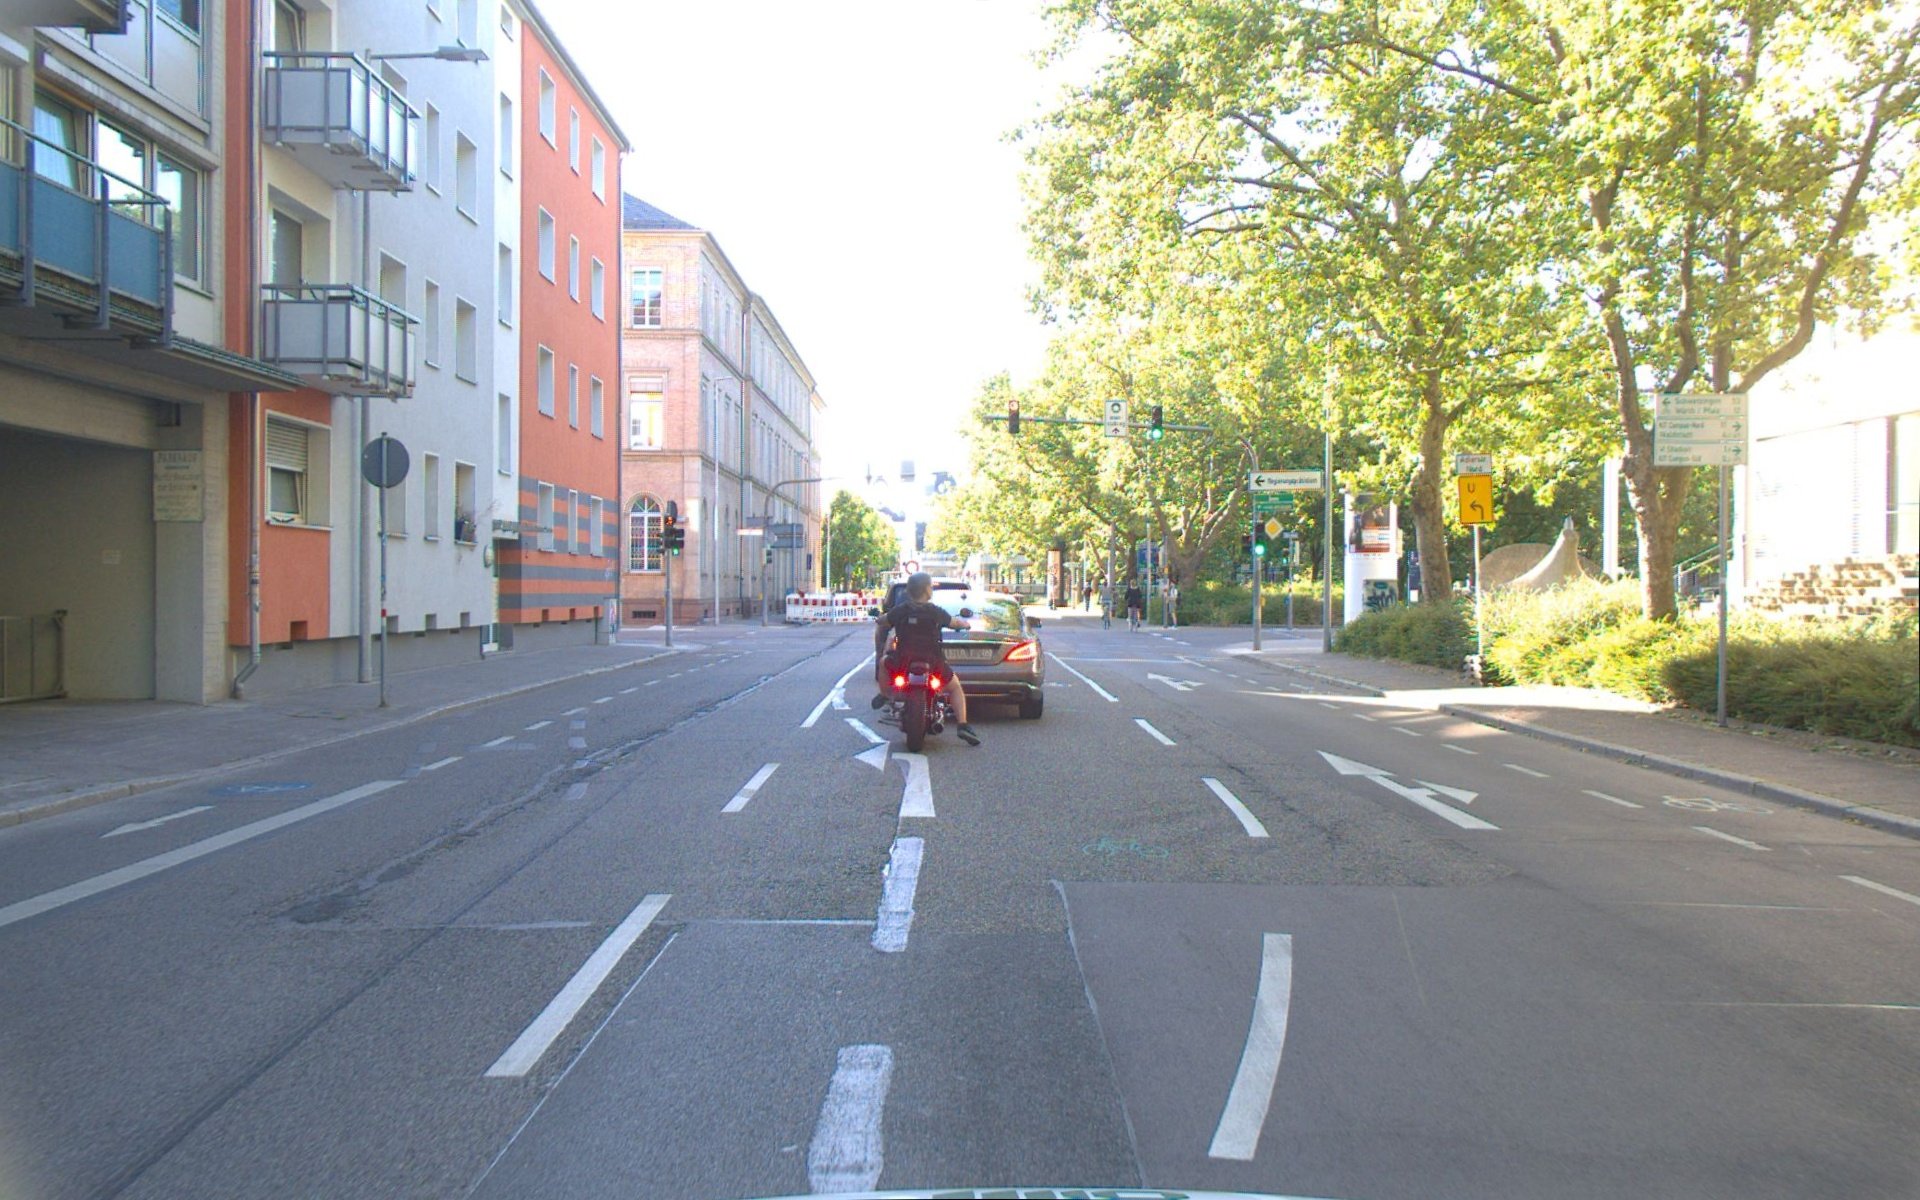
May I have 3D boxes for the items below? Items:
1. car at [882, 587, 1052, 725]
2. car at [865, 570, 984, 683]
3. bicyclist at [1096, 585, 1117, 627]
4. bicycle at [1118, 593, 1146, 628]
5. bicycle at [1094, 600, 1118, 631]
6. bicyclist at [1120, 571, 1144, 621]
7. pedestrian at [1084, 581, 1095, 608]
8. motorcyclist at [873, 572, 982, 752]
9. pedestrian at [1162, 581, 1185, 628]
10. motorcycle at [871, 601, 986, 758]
[{"bbox_3d":[0.050,0.584,19.519,1.791,1.445,3.814,1,0,-1],"label":"car"},{"bbox_3d":[-0.645,0.398,27.119,1.599,1.679,3.846,2,0,-6],"label":"car"},{"bbox_3d":[5.477,0.217,61.920,0.643,1.557,0.906,2,0,-1],"label":"bicyclist"},{"bbox_3d":[5.526,0.330,53.161,0.643,1.089,1.926,2,0,-1],"label":"bicycle"},{"bbox_3d":[5.470,0.572,61.907,0.643,1.131,2.185,2,0,-1],"label":"bicycle"},{"bbox_3d":[5.533,-0.132,53.212,0.643,1.557,0.852,2,0,-1],"label":"bicyclist"},{"bbox_3d":[7.859,-0.324,100.454,0.580,1.606,0.527,2,0,-1],"label":"pedestrian"},{"bbox_3d":[-0.308,0.557,15.743,0.991,1.630,1.406,0,0,-1],"label":"motorcyclist"},{"bbox_3d":[8.238,0.170,63.755,0.566,1.805,0.618,2,0,-35],"label":"pedestrian"},{"bbox_3d":[-0.292,0.688,15.664,0.991,1.329,2.672,0,0,-1],"label":"motorcycle"}]
